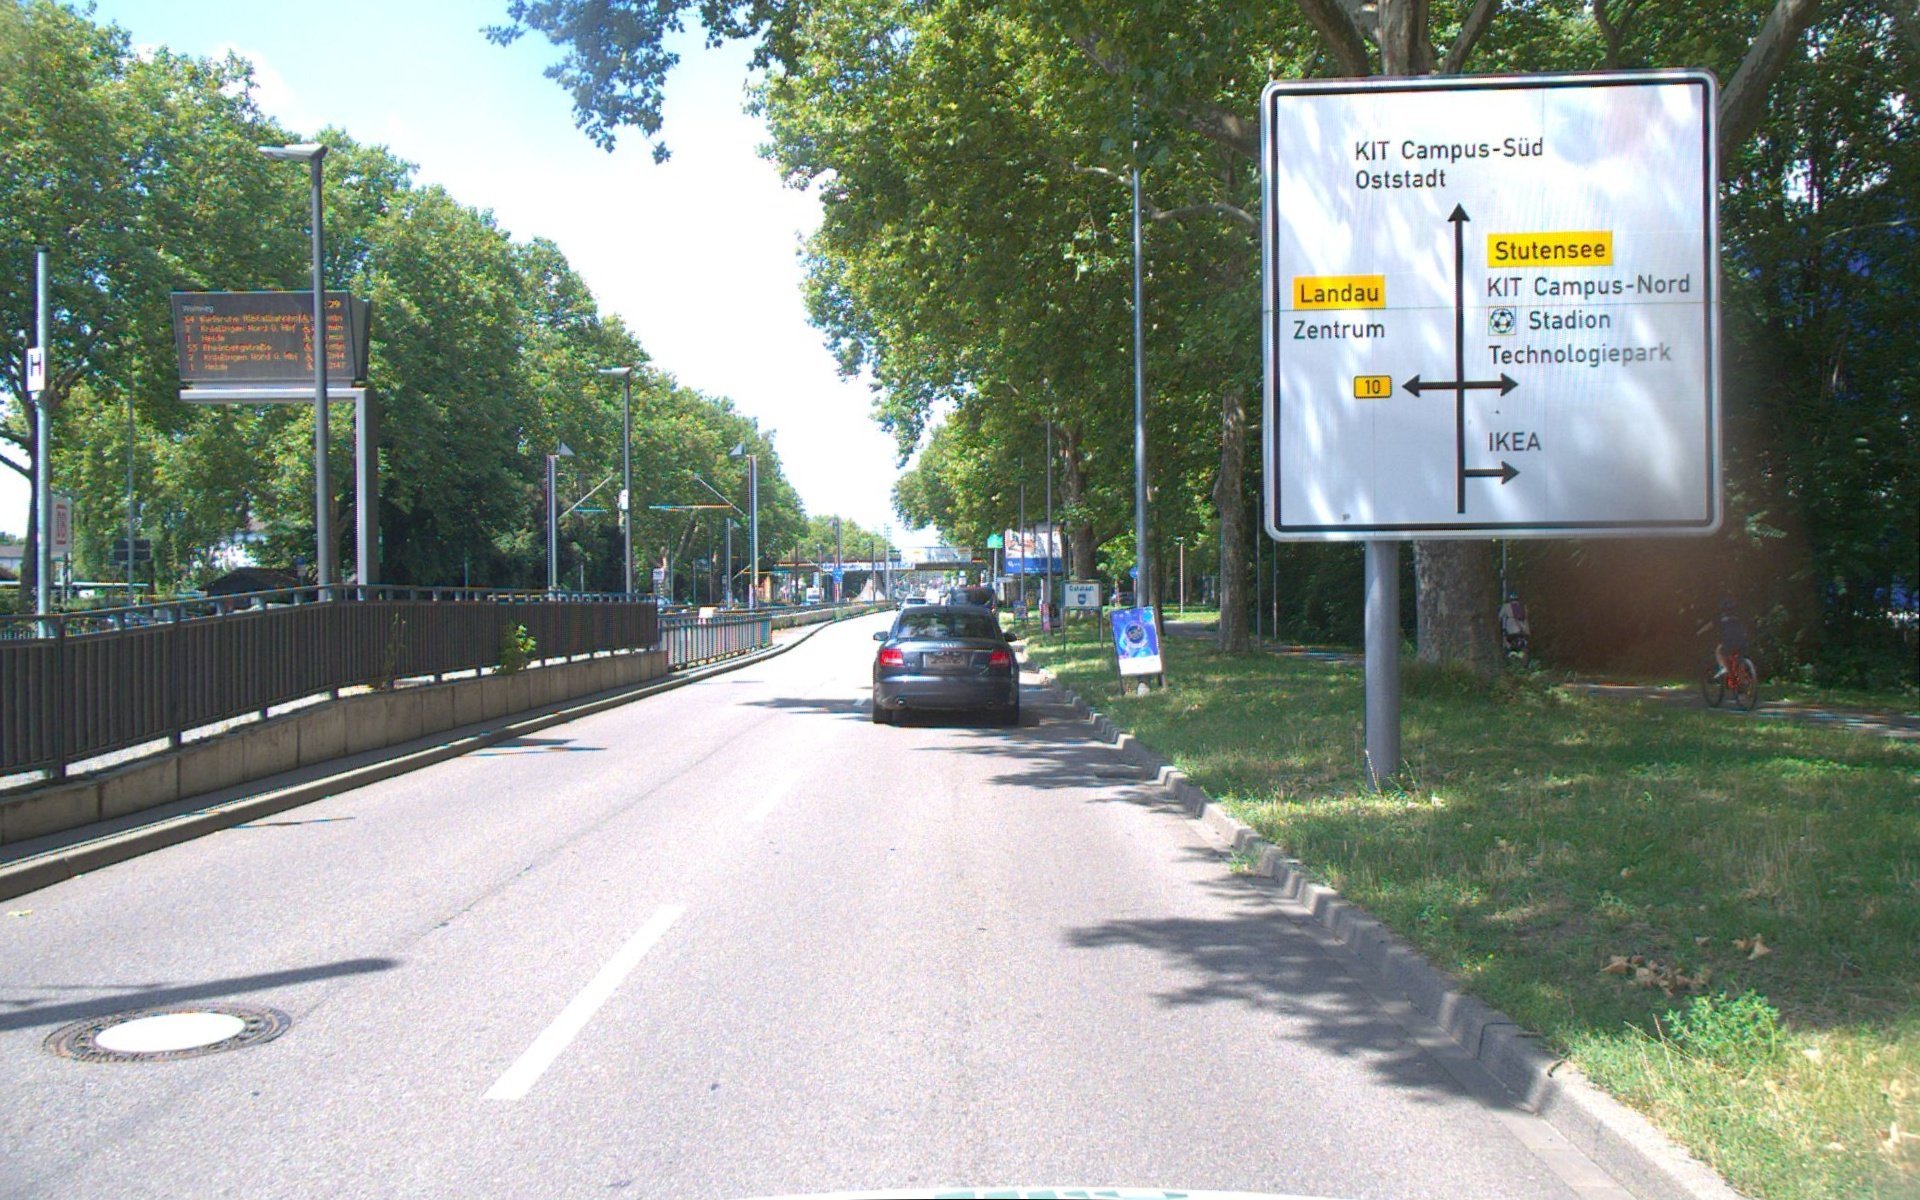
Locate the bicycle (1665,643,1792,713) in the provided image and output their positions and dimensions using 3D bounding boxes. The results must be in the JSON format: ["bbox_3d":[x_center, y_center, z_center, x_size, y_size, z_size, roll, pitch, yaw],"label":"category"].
[{"bbox_3d":[11.029,1.096,23.810,0.633,0.902,2.018,0,0,-10],"label":"bicycle"}]

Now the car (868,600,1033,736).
[{"bbox_3d":[-0.212,0.784,21.104,1.806,1.510,3.996,-1,1,-5],"label":"car"}]

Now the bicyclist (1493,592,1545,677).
[{"bbox_3d":[10.847,0.664,32.117,0.645,1.627,1.053,0,0,0],"label":"bicyclist"}]

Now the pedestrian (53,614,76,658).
[{"bbox_3d":[-30.404,1.210,56.155,0.547,1.477,0.643,0,0,-15],"label":"pedestrian"}]

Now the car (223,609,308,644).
[{"bbox_3d":[-31.211,1.173,74.375,3.258,1.501,1.650,0,0,-12],"label":"car"}]

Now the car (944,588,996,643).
[{"bbox_3d":[0.406,0.564,61.949,1.810,1.994,4.145,1,0,2],"label":"car"}]

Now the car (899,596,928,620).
[{"bbox_3d":[-2.933,0.481,104.187,1.808,1.489,3.998,0,0,-2],"label":"car"}]

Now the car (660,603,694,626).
[{"bbox_3d":[-21.604,1.116,126.451,1.707,1.713,4.385,-1,0,2],"label":"car"}]

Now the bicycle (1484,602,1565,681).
[{"bbox_3d":[10.868,0.763,31.939,0.598,1.444,2.661,-1,0,-1],"label":"bicycle"}]

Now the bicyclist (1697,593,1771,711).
[{"bbox_3d":[11.059,0.728,23.660,0.611,1.638,0.815,0,0,-9],"label":"bicyclist"}]
